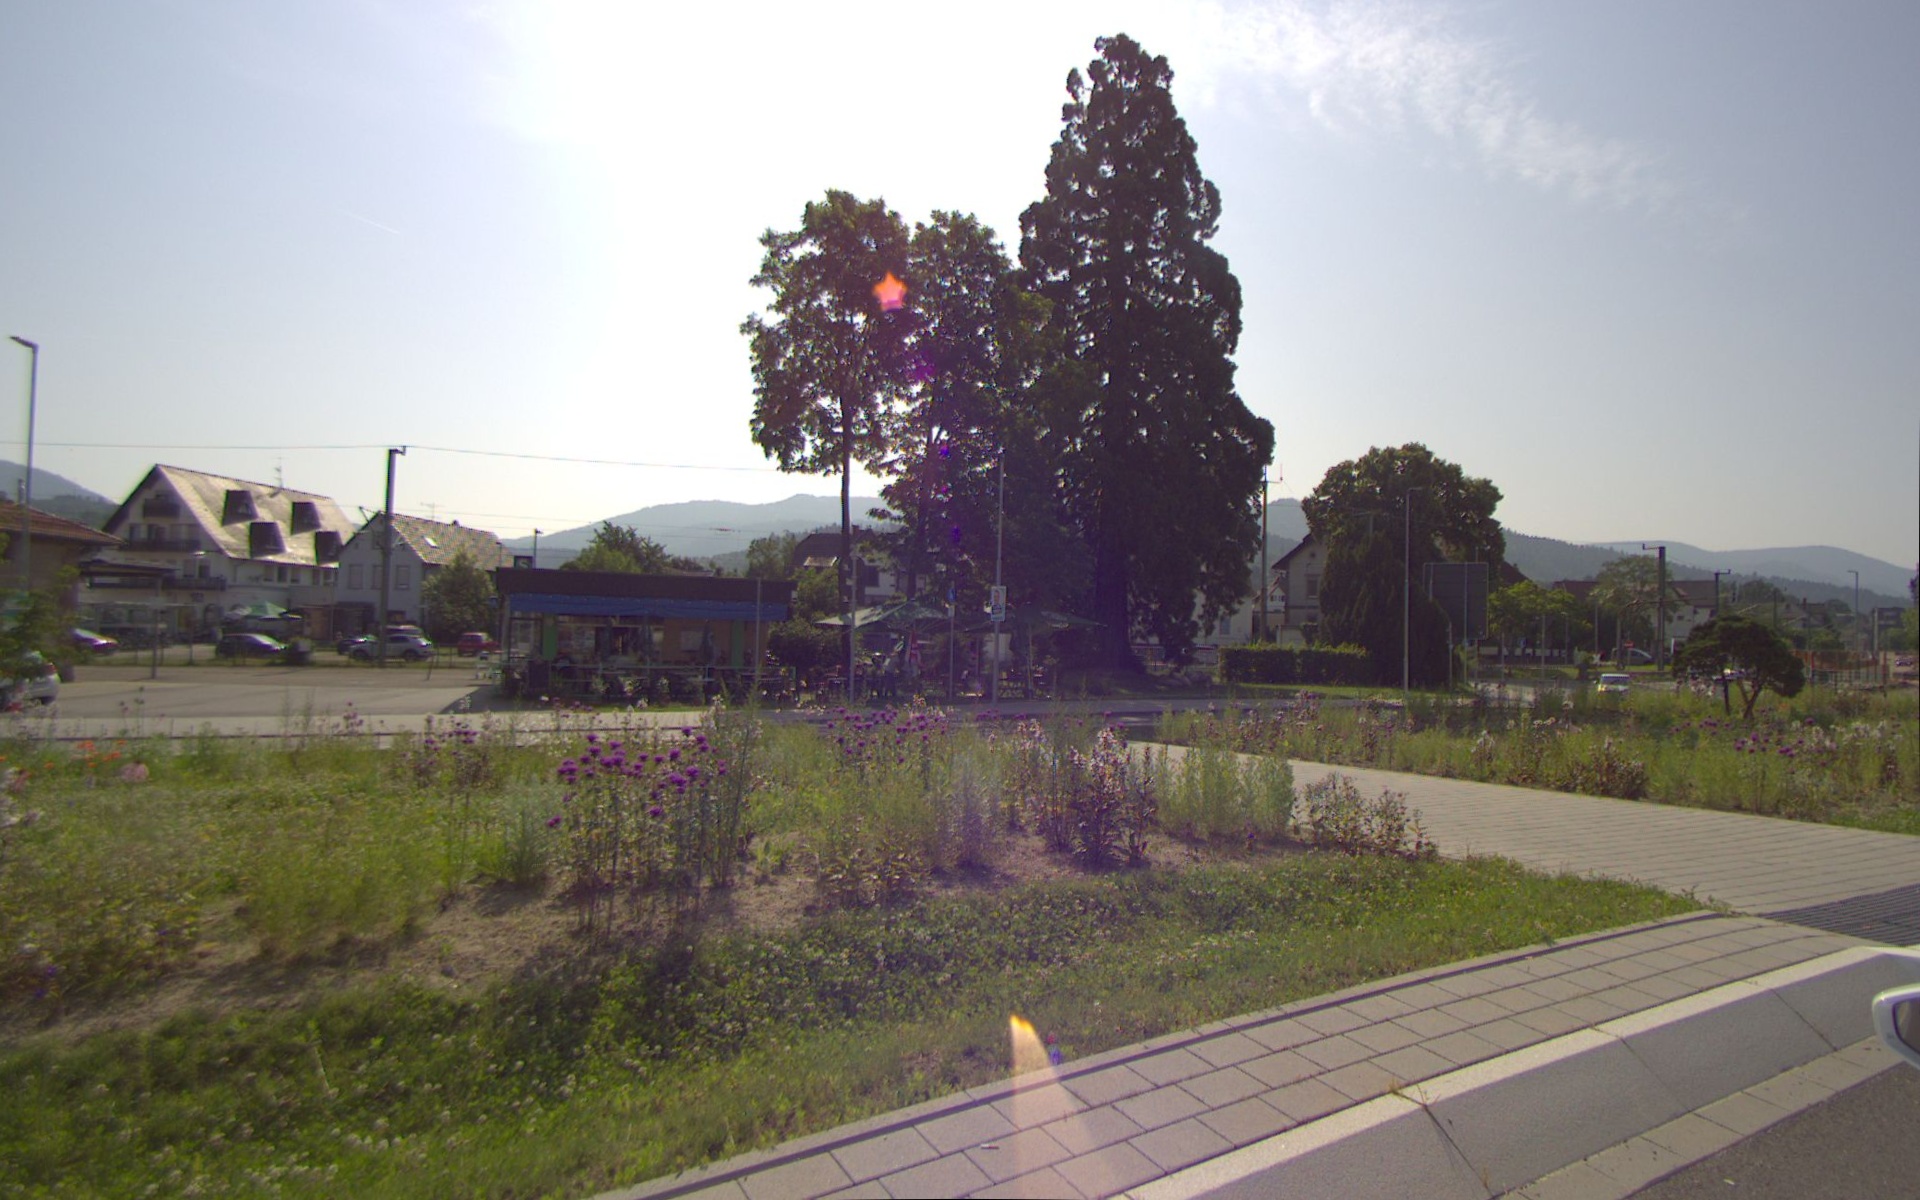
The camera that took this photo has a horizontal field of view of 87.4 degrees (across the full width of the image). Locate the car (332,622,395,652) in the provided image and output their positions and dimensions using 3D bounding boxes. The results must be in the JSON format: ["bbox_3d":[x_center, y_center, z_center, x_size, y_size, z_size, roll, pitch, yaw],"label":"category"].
[{"bbox_3d":[-38.343,2.353,64.685,1.803,1.750,3.998,2,0,-3],"label":"car"}]

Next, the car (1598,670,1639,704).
[{"bbox_3d":[32.537,4.241,49.586,1.647,1.551,3.989,-1,-4,34],"label":"car"}]

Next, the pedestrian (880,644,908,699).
[{"bbox_3d":[-2.042,2.195,31.010,0.563,1.611,0.643,1,1,-38],"label":"pedestrian"}]

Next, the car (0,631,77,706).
[{"bbox_3d":[-23.596,1.545,23.822,3.585,1.589,1.677,3,0,-10],"label":"car"}]

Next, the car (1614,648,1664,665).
[{"bbox_3d":[68.907,5.691,101.986,1.701,1.416,3.951,2,0,-41],"label":"car"}]

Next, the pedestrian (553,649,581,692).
[{"bbox_3d":[-11.222,2.008,28.681,0.672,1.179,0.555,2,1,-27],"label":"pedestrian"}]

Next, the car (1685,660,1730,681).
[{"bbox_3d":[57.384,5.391,77.087,3.963,1.416,1.696,2,0,-37],"label":"car"}]

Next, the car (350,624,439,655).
[{"bbox_3d":[-31.378,2.197,55.823,3.927,1.639,1.780,1,1,-9],"label":"car"}]

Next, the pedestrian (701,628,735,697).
[{"bbox_3d":[-7.488,1.919,31.060,0.703,2.040,0.849,1,1,-38],"label":"pedestrian"}]

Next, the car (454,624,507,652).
[{"bbox_3d":[-31.143,2.436,65.381,1.681,1.623,3.998,2,0,-3],"label":"car"}]

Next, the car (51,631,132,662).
[{"bbox_3d":[-50.400,2.702,58.300,3.577,1.514,1.608,3,0,11],"label":"car"}]

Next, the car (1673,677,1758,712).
[{"bbox_3d":[39.174,4.871,52.183,1.680,1.416,4.002,2,0,7],"label":"car"}]

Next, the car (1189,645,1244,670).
[{"bbox_3d":[18.861,4.216,74.082,3.579,1.514,1.607,3,0,0],"label":"car"}]

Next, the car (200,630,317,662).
[{"bbox_3d":[-28.780,1.870,41.297,3.684,1.193,1.422,1,1,-20],"label":"car"}]
